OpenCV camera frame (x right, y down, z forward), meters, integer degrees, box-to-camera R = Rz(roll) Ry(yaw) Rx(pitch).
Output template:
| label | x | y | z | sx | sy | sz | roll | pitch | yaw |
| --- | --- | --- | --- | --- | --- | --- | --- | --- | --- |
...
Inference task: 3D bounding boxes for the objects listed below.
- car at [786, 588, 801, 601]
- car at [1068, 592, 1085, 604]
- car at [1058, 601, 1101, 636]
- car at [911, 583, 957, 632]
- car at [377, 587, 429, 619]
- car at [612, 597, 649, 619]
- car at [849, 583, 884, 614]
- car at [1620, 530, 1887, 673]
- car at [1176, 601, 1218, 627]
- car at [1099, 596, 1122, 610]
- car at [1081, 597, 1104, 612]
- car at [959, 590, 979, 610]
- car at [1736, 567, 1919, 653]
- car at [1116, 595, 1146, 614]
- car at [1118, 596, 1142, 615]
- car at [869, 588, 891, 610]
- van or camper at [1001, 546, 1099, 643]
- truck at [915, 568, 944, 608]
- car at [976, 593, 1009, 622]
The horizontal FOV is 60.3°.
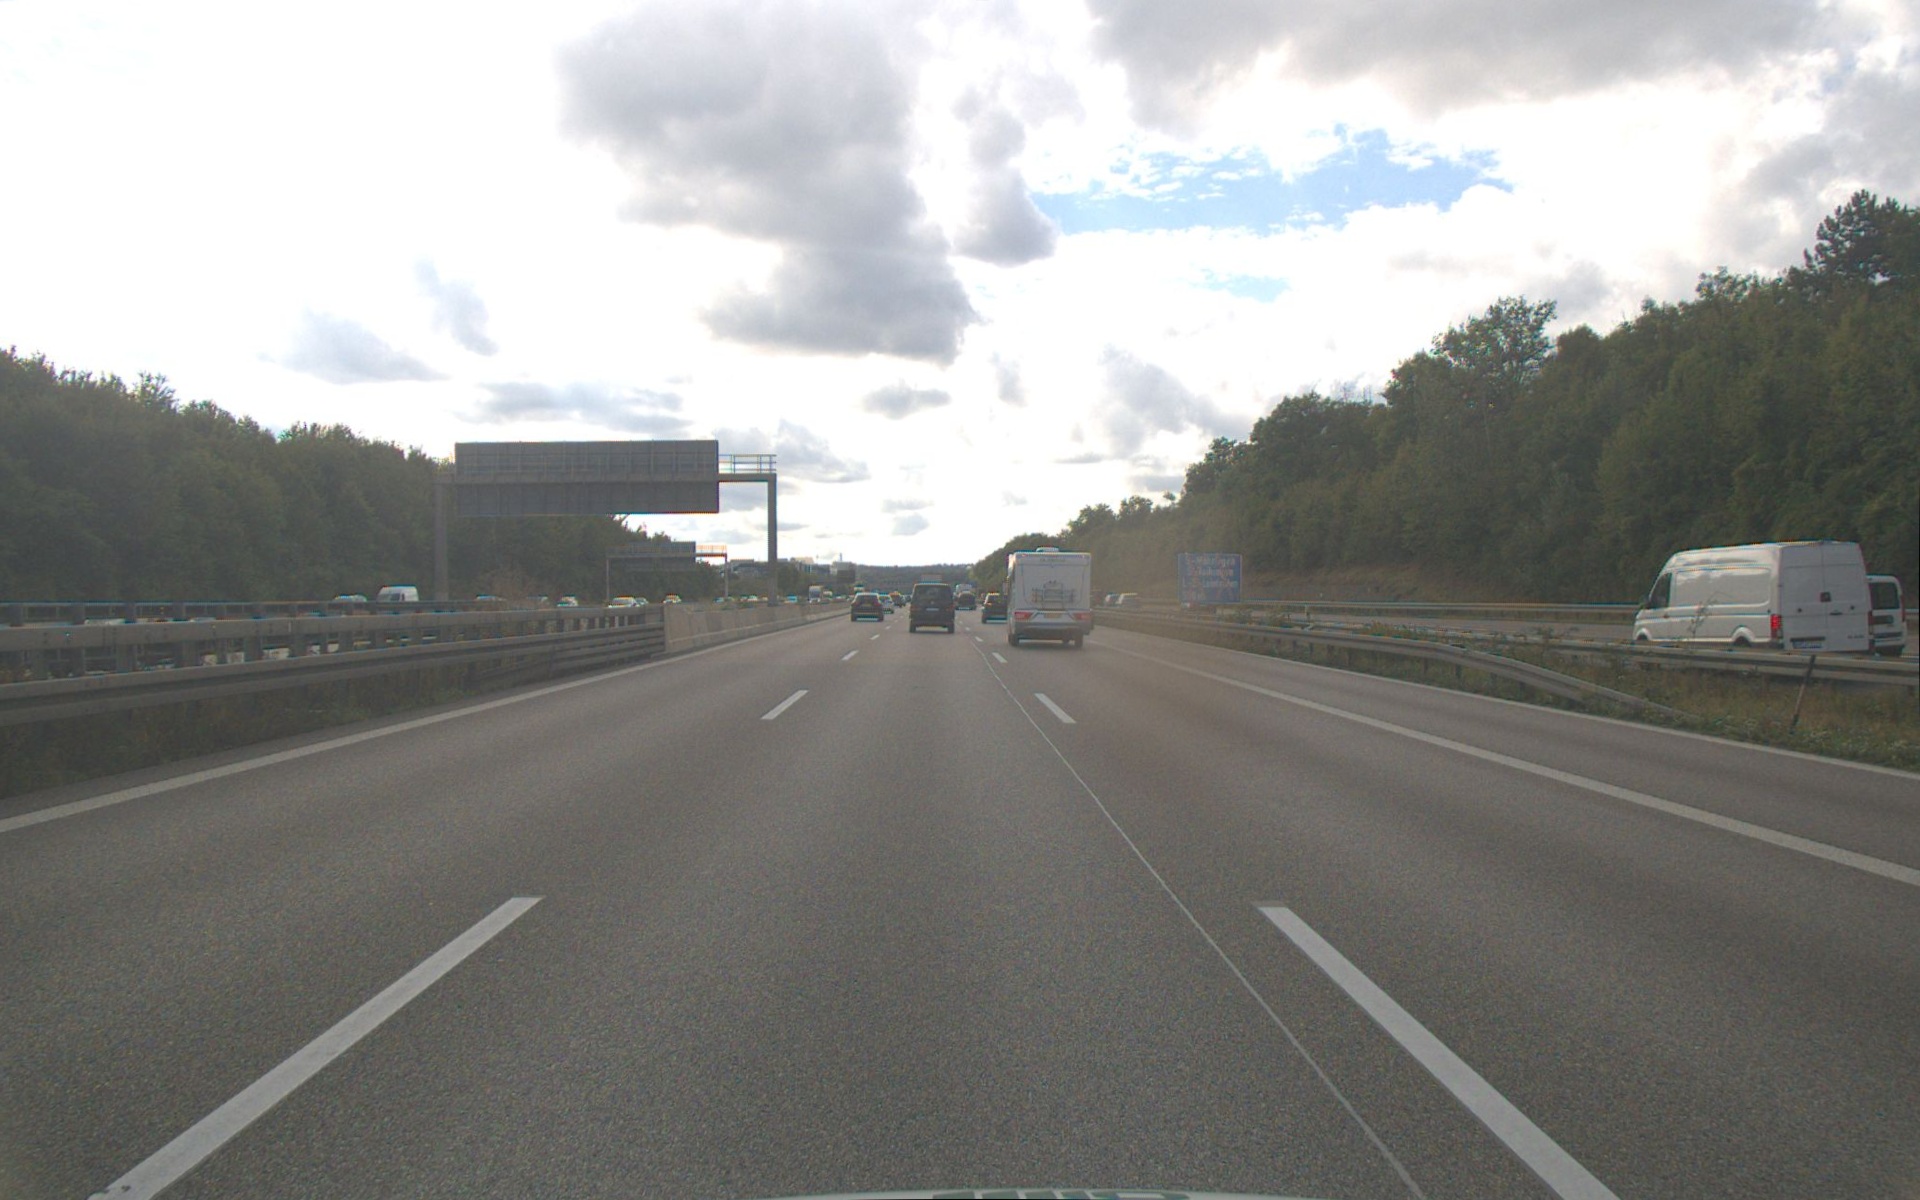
| label | x | y | z | sx | sy | sz | roll | pitch | yaw |
| --- | --- | --- | --- | --- | --- | --- | --- | --- | --- |
| car | -24.222 | -0.781 | 241.366 | 1.797 | 1.817 | 5.501 | -1 | 0 | -2 |
| car | 16.127 | -0.272 | 228.587 | 1.806 | 1.510 | 4.523 | -2 | 0 | -3 |
| car | 5.750 | 0.851 | 79.736 | 1.663 | 1.639 | 3.894 | 0 | 0 | -2 |
| car | -1.098 | 0.297 | 68.100 | 1.817 | 1.944 | 4.258 | 0 | 0 | -2 |
| car | -42.261 | 0.231 | 125.690 | 1.952 | 2.355 | 5.685 | -1 | 0 | 0 |
| car | -21.281 | 0.487 | 106.849 | 1.609 | 1.338 | 4.246 | -1 | 0 | -2 |
| car | -5.331 | -0.082 | 94.515 | 1.835 | 1.728 | 4.071 | 0 | 0 | -2 |
| car | 15.895 | -0.001 | 33.690 | 2.028 | 2.599 | 6.741 | -1 | 1 | -1 |
| car | 14.787 | 0.858 | 103.397 | 1.806 | 1.510 | 4.524 | -2 | 0 | -1 |
| car | 16.625 | 0.338 | 182.920 | 1.806 | 1.510 | 4.523 | -2 | 0 | -3 |
| car | 13.911 | 0.449 | 174.003 | 1.806 | 1.510 | 4.523 | -2 | 0 | -3 |
| car | 0.931 | -0.011 | 172.287 | 1.874 | 1.952 | 4.029 | 0 | 0 | -2 |
| car | 19.459 | 0.190 | 37.104 | 1.806 | 1.782 | 4.763 | 0 | 0 | -1 |
| car | 14.347 | 0.372 | 139.093 | 1.806 | 1.510 | 4.523 | -2 | 0 | -3 |
| car | 14.262 | 0.437 | 138.674 | 1.509 | 1.510 | 3.941 | -2 | 0 | -1 |
| car | -6.244 | -0.094 | 128.827 | 1.663 | 1.639 | 4.112 | 0 | 0 | -2 |
| van or camper | 2.689 | -0.178 | 51.401 | 2.419 | 2.769 | 7.659 | 1 | 0 | -2 |
| truck | -3.590 | -1.334 | 192.156 | 3.197 | 4.451 | 11.023 | 1 | 0 | -1 |
| car | 1.794 | 0.379 | 92.953 | 1.663 | 1.592 | 4.112 | 0 | 0 | -2 |
